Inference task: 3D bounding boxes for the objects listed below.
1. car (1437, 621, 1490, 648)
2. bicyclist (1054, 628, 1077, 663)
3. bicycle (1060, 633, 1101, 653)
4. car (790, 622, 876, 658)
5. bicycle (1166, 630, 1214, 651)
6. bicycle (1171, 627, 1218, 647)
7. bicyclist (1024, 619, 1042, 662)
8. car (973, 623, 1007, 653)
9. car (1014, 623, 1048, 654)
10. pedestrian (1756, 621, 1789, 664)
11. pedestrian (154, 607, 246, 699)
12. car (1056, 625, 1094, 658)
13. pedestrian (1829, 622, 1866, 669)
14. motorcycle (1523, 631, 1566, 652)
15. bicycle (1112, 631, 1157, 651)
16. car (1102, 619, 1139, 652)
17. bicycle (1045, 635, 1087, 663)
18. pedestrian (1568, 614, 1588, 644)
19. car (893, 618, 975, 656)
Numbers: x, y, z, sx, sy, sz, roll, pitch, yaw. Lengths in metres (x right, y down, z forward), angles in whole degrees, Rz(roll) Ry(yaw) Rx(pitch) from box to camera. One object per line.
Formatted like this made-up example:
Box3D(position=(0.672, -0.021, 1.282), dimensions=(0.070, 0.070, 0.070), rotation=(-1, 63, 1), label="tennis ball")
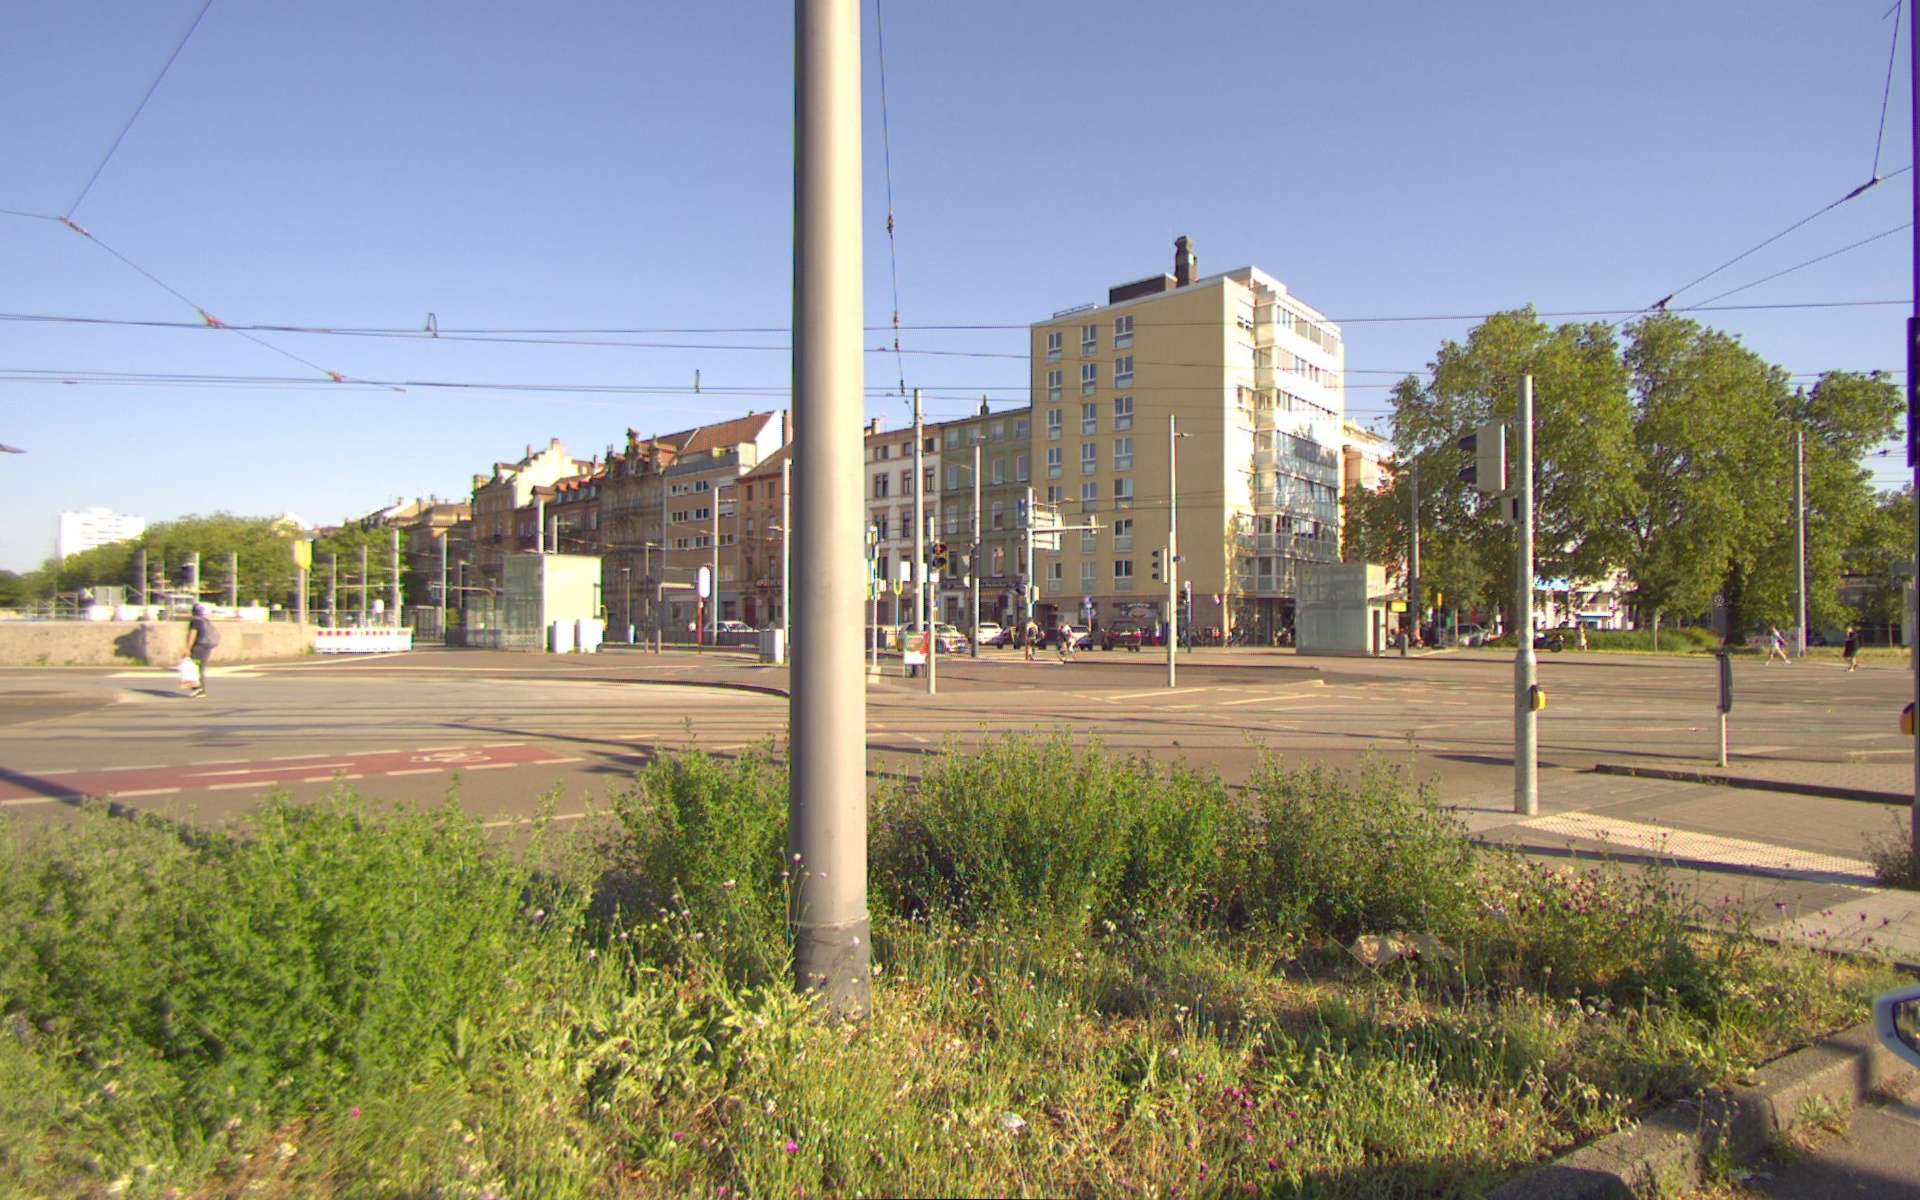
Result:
Box3D(position=(32.002, 2.202, 63.812), dimensions=(3.973, 1.588, 1.753), rotation=(2, 0, -44), label="car")
Box3D(position=(4.262, 1.823, 40.594), dimensions=(0.617, 1.368, 0.658), rotation=(2, 0, 44), label="bicyclist")
Box3D(position=(8.239, 2.942, 68.942), dimensions=(3.003, 1.167, 0.637), rotation=(1, 0, 44), label="bicycle")
Box3D(position=(-6.853, 2.116, 54.002), dimensions=(4.646, 1.684, 1.779), rotation=(2, 0, 38), label="car")
Box3D(position=(14.455, 2.555, 63.166), dimensions=(3.003, 1.167, 0.637), rotation=(1, 0, 44), label="bicycle")
Box3D(position=(14.869, 2.327, 63.770), dimensions=(3.003, 1.167, 0.637), rotation=(1, 0, 44), label="bicycle")
Box3D(position=(3.017, 1.663, 41.414), dimensions=(0.653, 1.706, 0.980), rotation=(2, 0, 2), label="bicyclist")
Box3D(position=(1.922, 2.389, 63.910), dimensions=(1.960, 1.728, 4.001), rotation=(2, 0, 4), label="car")
Box3D(position=(4.325, 2.316, 61.548), dimensions=(1.960, 1.728, 4.001), rotation=(2, 0, 4), label="car")
Box3D(position=(33.610, 1.742, 41.553), dimensions=(0.747, 1.728, 0.793), rotation=(2, 0, -22), label="pedestrian")
Box3D(position=(-14.716, 1.009, 19.495), dimensions=(0.985, 1.706, 1.042), rotation=(2, 0, -6), label="pedestrian")
Box3D(position=(6.761, 2.403, 59.239), dimensions=(1.960, 1.728, 4.001), rotation=(2, 0, 4), label="car")
Box3D(position=(33.895, 1.735, 38.374), dimensions=(0.747, 1.728, 0.793), rotation=(2, 0, -22), label="pedestrian")
Box3D(position=(29.139, 2.057, 50.111), dimensions=(1.753, 0.926, 0.676), rotation=(2, 0, 41), label="motorcycle")
Box3D(position=(11.466, 2.690, 66.133), dimensions=(3.003, 1.167, 0.637), rotation=(1, 0, 44), label="bicycle")
Box3D(position=(9.131, 1.976, 57.462), dimensions=(1.684, 1.728, 4.001), rotation=(2, 0, 4), label="car")
Box3D(position=(4.301, 1.969, 40.647), dimensions=(0.617, 1.104, 1.914), rotation=(2, 0, 44), label="bicycle")
Box3D(position=(36.099, 1.674, 58.670), dimensions=(0.491, 1.716, 0.852), rotation=(2, 0, -32), label="pedestrian")
Box3D(position=(-1.319, 1.769, 49.135), dimensions=(3.946, 1.684, 1.775), rotation=(1, 0, 45), label="car")
